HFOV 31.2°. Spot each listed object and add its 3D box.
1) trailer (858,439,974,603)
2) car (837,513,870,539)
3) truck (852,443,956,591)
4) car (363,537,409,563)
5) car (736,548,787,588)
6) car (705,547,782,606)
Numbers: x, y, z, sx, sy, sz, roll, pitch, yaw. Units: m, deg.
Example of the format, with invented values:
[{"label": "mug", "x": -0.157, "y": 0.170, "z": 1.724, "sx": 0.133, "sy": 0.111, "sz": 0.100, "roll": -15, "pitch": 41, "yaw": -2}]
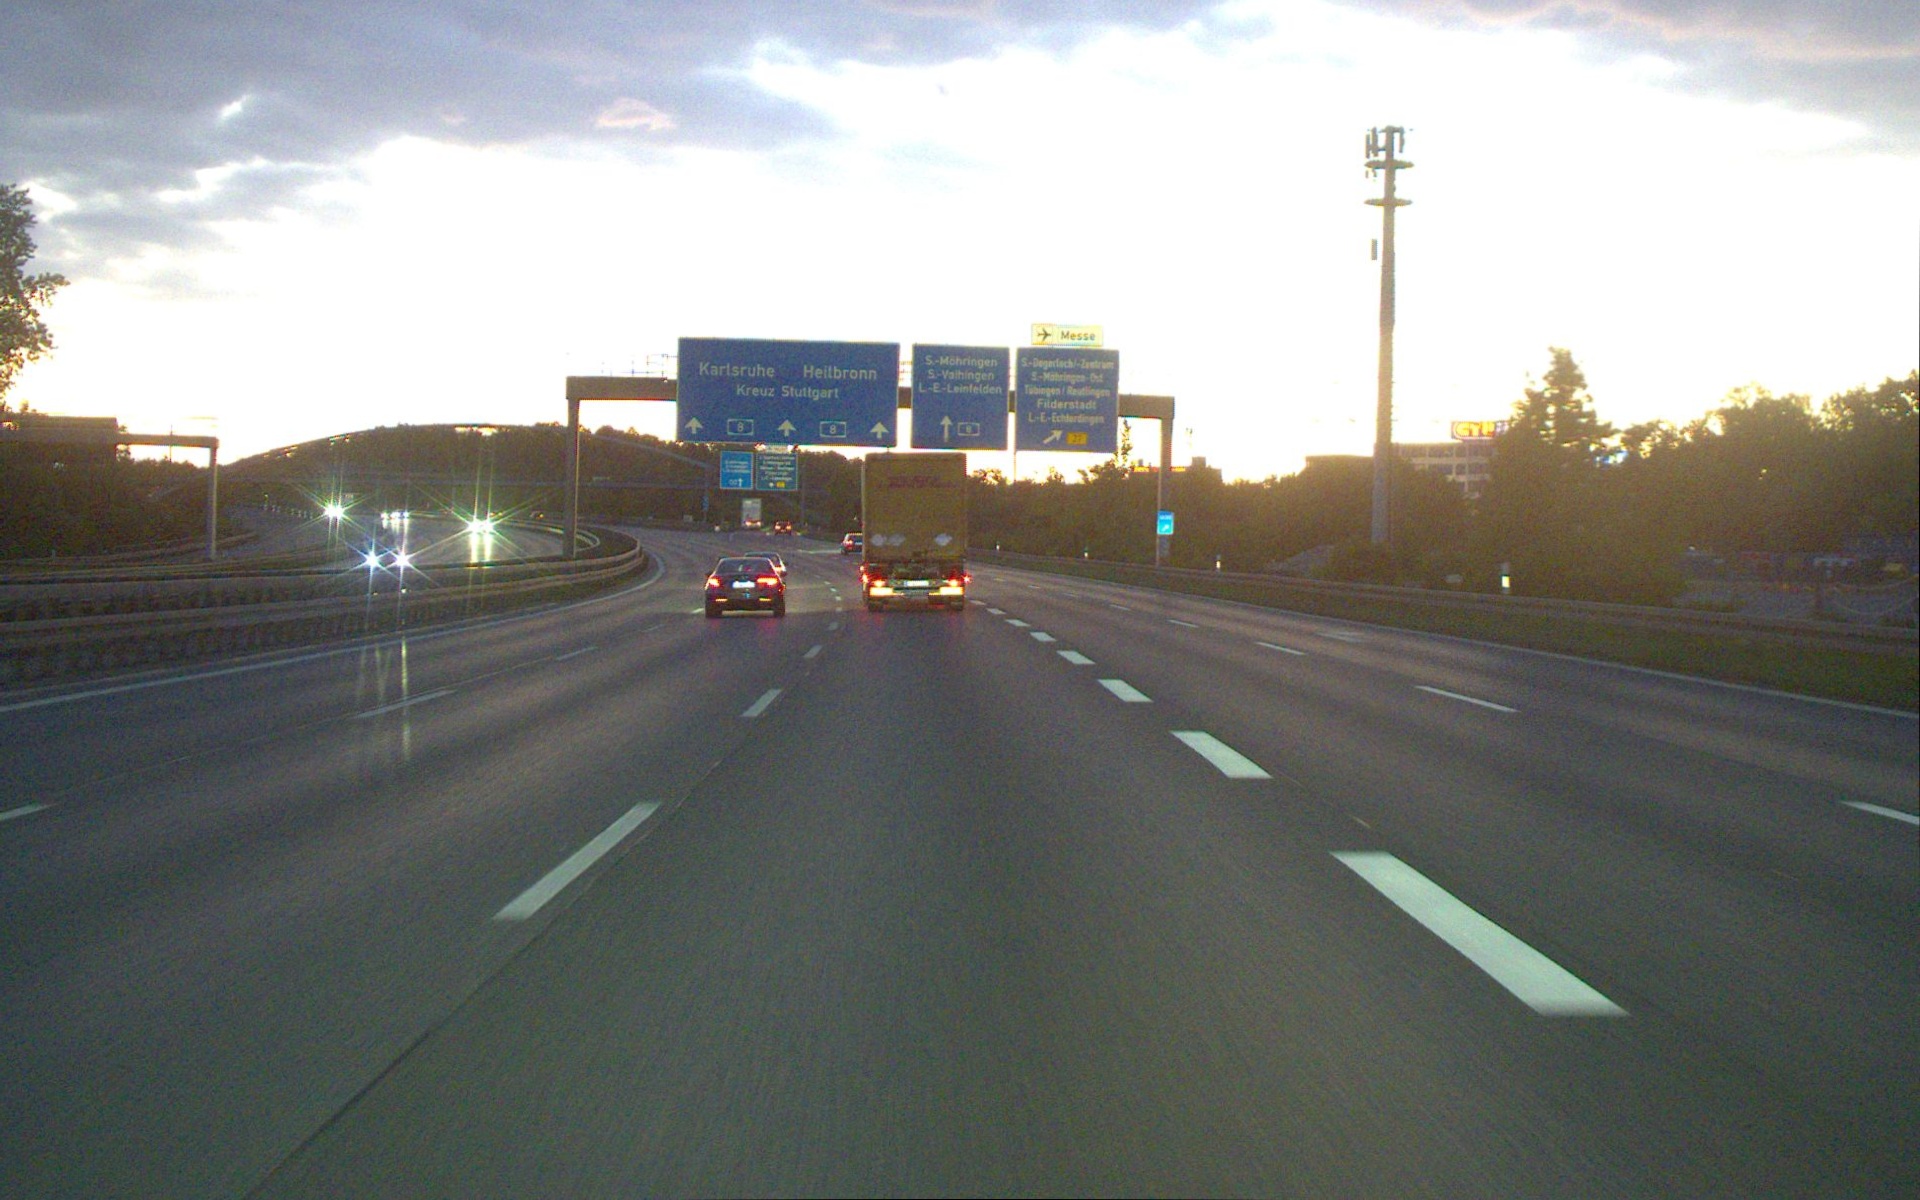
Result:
[{"label": "trailer", "x": -1.215, "y": -2.113, "z": 89.650, "sx": 2.721, "sy": 4.057, "sz": 8.832, "roll": 0, "pitch": 2, "yaw": -3}, {"label": "car", "x": -7.561, "y": -5.230, "z": 242.749, "sx": 1.993, "sy": 1.711, "sz": 4.001, "roll": 0, "pitch": 0, "yaw": -7}, {"label": "truck", "x": -1.683, "y": -2.439, "z": 99.281, "sx": 2.690, "sy": 4.057, "sz": 10.522, "roll": 0, "pitch": 2, "yaw": -3}, {"label": "car", "x": -31.096, "y": -2.717, "z": 186.265, "sx": 1.993, "sy": 1.399, "sz": 4.330, "roll": 1, "pitch": 1, "yaw": -3}, {"label": "car", "x": -7.265, "y": -1.157, "z": 126.086, "sx": 1.689, "sy": 1.396, "sz": 3.409, "roll": -1, "pitch": 0, "yaw": 0}, {"label": "car", "x": -5.228, "y": -0.569, "z": 82.707, "sx": 1.689, "sy": 1.396, "sz": 3.409, "roll": 0, "pitch": 0, "yaw": -6}]
